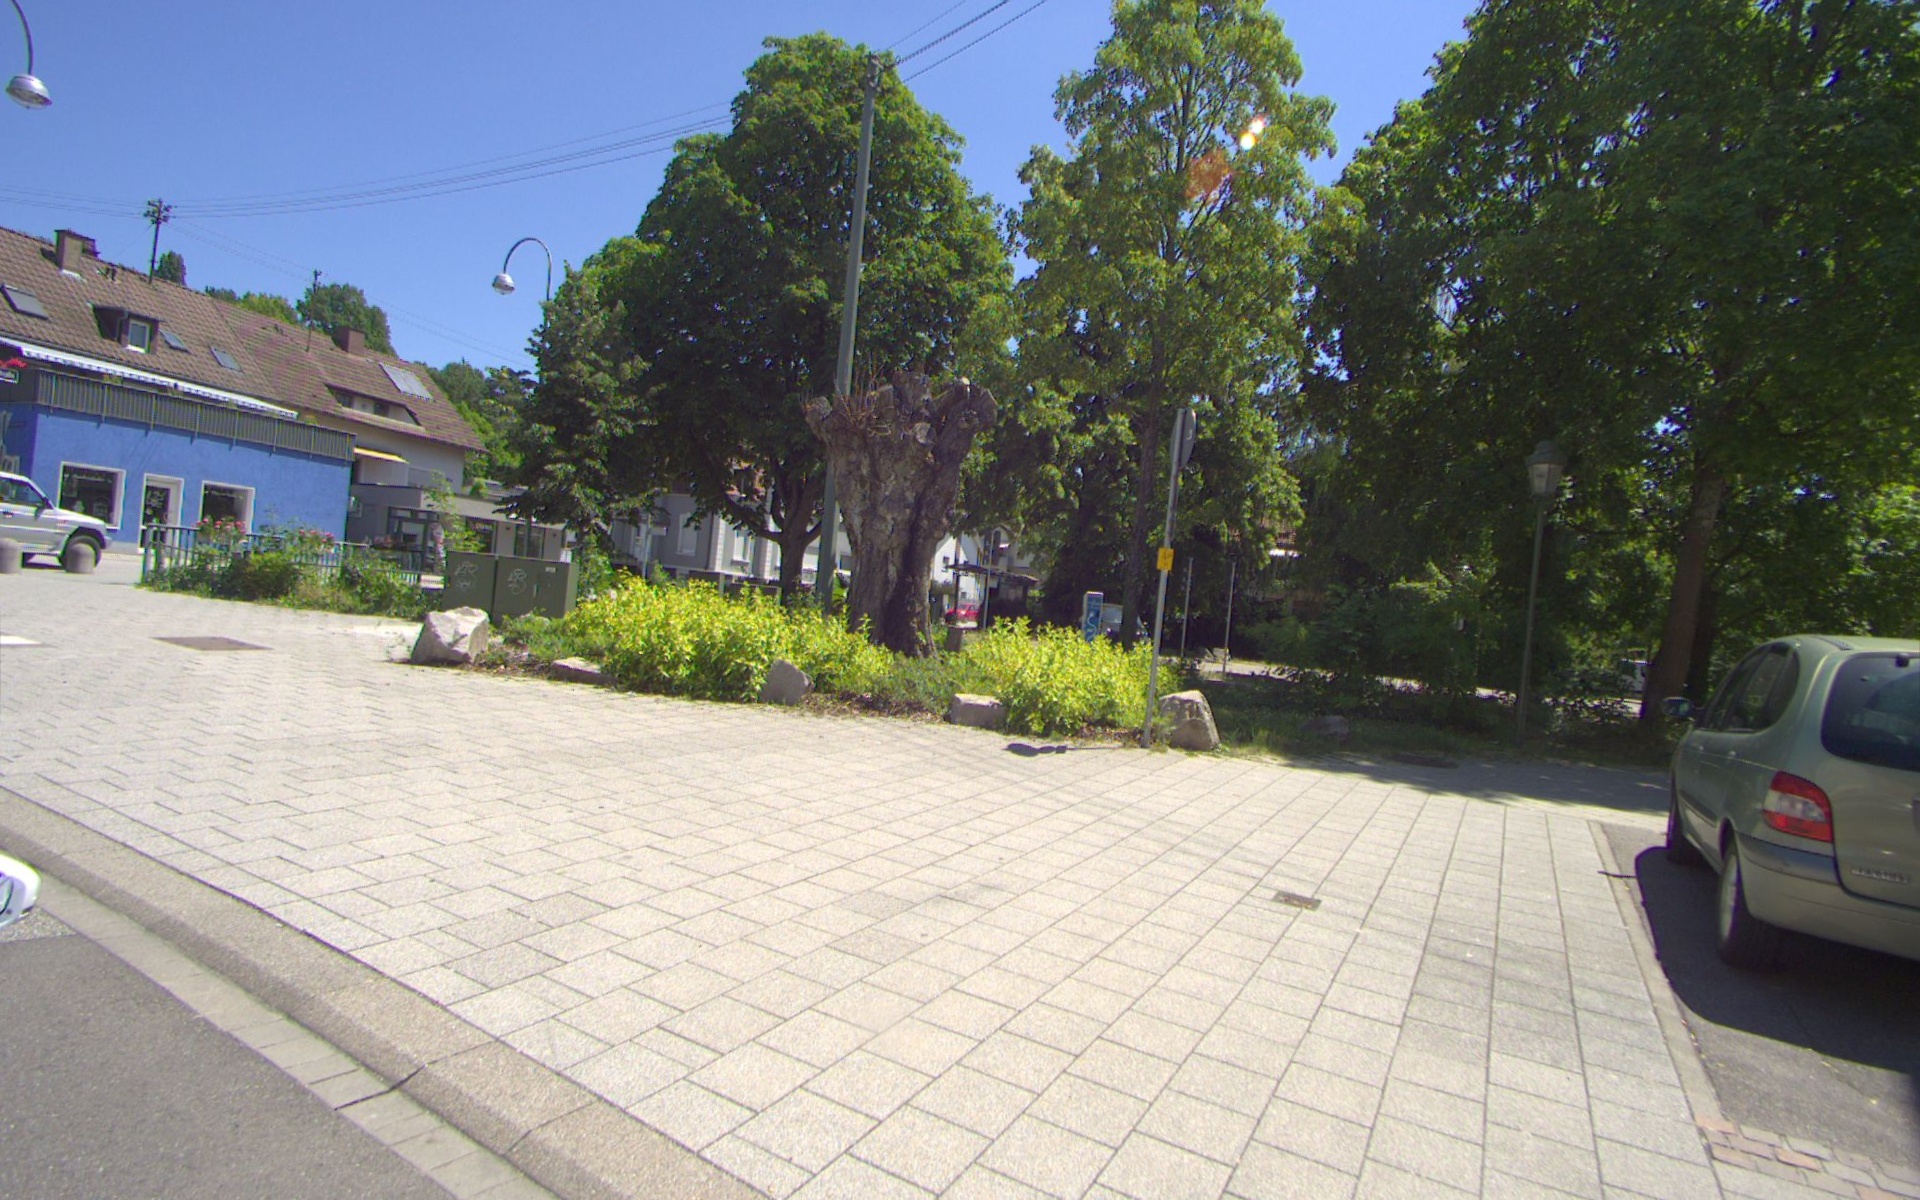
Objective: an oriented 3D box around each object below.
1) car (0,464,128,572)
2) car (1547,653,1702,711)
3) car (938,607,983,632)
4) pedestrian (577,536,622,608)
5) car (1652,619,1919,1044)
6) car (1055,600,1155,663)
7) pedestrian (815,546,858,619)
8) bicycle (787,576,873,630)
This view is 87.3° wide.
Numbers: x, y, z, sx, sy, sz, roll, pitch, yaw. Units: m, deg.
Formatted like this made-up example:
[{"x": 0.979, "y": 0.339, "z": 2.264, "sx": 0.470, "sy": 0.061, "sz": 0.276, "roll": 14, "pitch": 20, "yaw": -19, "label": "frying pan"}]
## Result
[{"x": -18.562, "y": -1.660, "z": 19.002, "sx": 1.730, "sy": 1.898, "sz": 4.231, "roll": 8, "pitch": 1, "yaw": 6, "label": "car"}, {"x": 36.351, "y": 4.452, "z": 55.305, "sx": 2.169, "sy": 2.267, "sz": 6.713, "roll": 5, "pitch": 0, "yaw": -30, "label": "car"}, {"x": 0.040, "y": 1.464, "z": 75.177, "sx": 1.747, "sy": 1.571, "sz": 3.672, "roll": 5, "pitch": 0, "yaw": 28, "label": "car"}, {"x": -9.479, "y": -0.728, "z": 26.427, "sx": 0.668, "sy": 1.824, "sz": 0.737, "roll": 7, "pitch": 3, "yaw": 28, "label": "pedestrian"}, {"x": 5.106, "y": 1.020, "z": 5.503, "sx": 1.772, "sy": 1.616, "sz": 4.062, "roll": 6, "pitch": 2, "yaw": 31, "label": "car"}, {"x": 4.092, "y": 0.845, "z": 28.912, "sx": 1.645, "sy": 1.472, "sz": 3.755, "roll": 5, "pitch": 0, "yaw": -10, "label": "car"}, {"x": -2.947, "y": -0.405, "z": 24.059, "sx": 0.704, "sy": 1.653, "sz": 0.747, "roll": 6, "pitch": 1, "yaw": 8, "label": "pedestrian"}, {"x": -3.106, "y": 0.081, "z": 24.142, "sx": 1.814, "sy": 1.097, "sz": 0.747, "roll": 6, "pitch": 1, "yaw": 8, "label": "bicycle"}]
